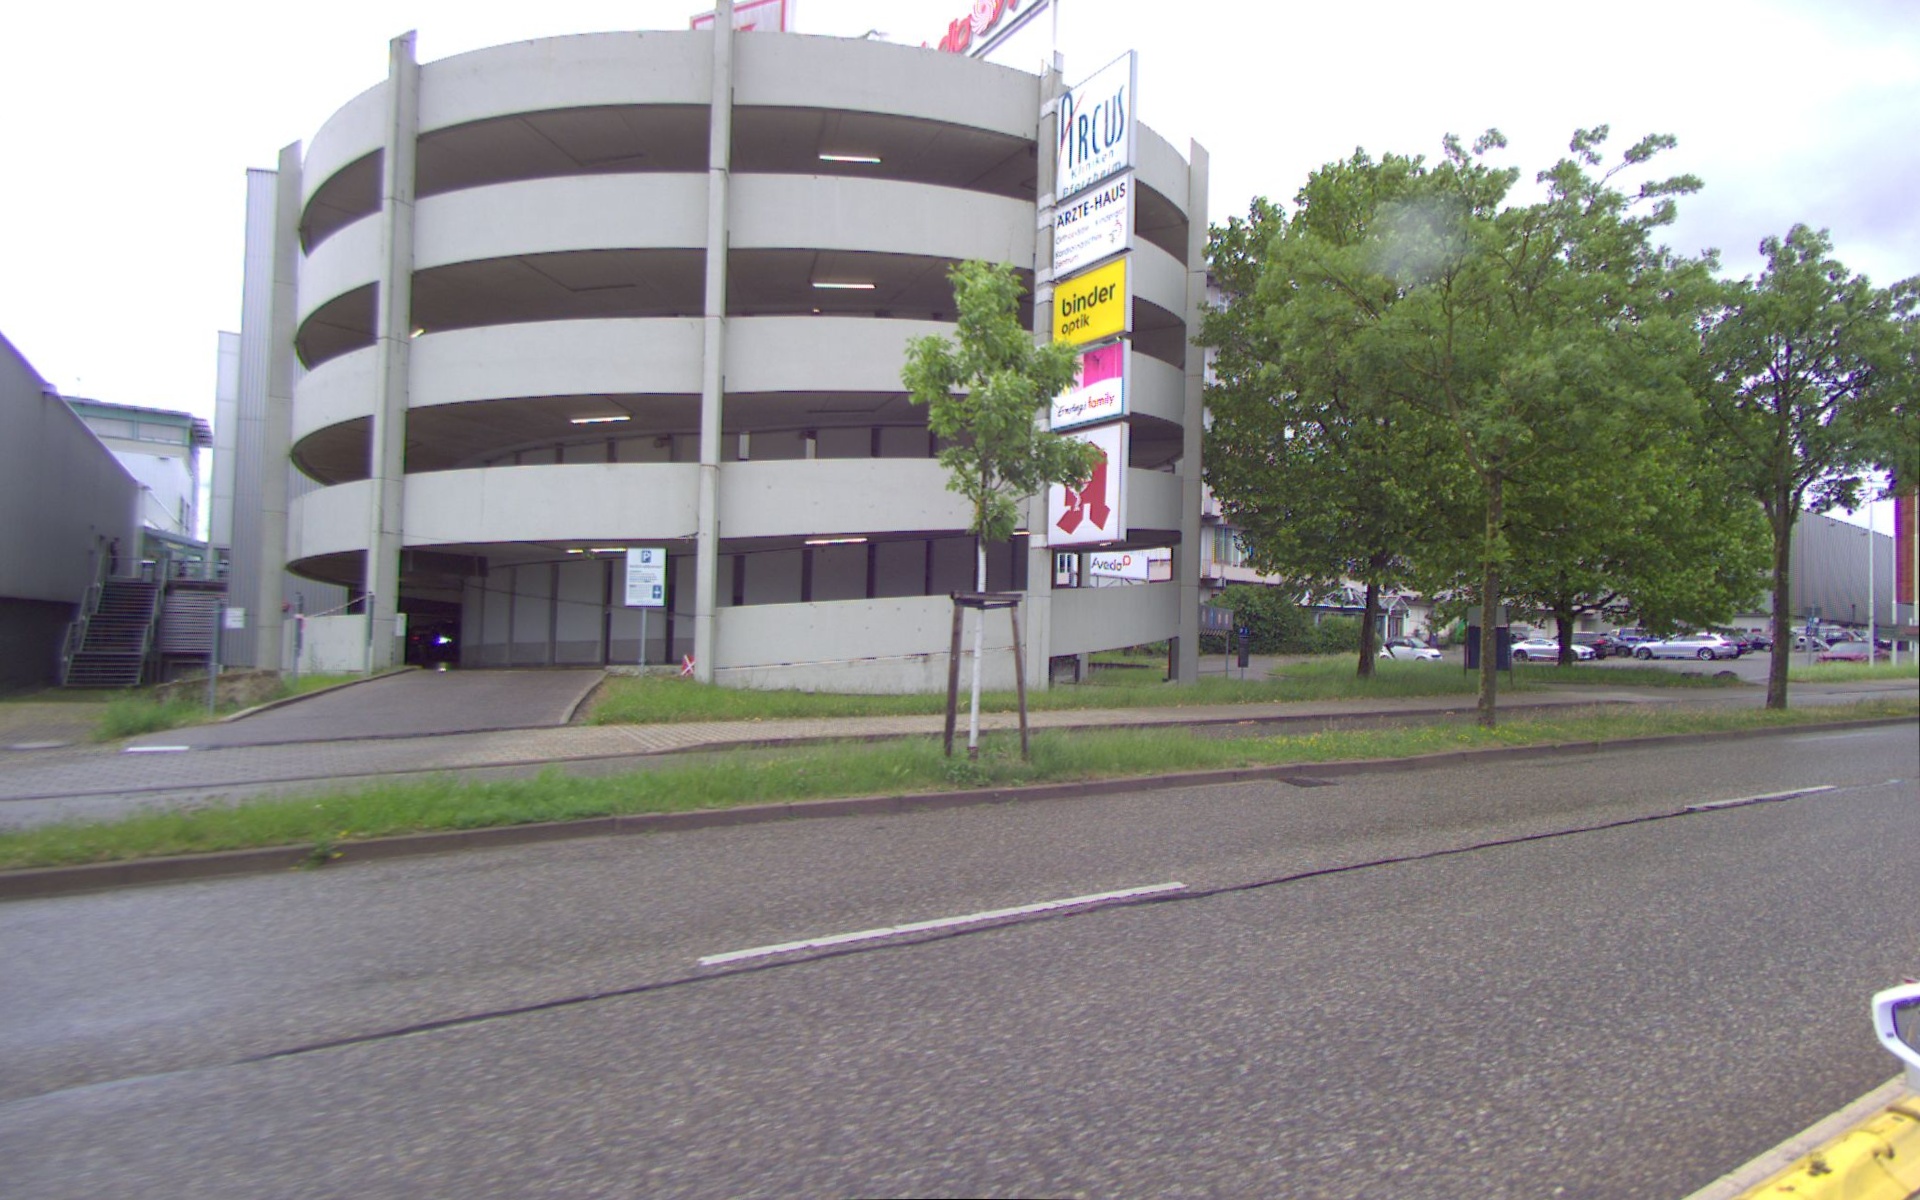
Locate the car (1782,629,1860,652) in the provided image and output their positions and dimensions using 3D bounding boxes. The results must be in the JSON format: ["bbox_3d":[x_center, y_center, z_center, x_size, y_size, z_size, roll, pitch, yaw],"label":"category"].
[{"bbox_3d":[62.598,2.923,73.082,1.802,1.530,4.079,0,1,-37],"label":"car"}]

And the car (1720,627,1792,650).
[{"bbox_3d":[61.702,2.962,77.913,1.802,1.530,4.079,0,1,-37],"label":"car"}]

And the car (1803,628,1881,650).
[{"bbox_3d":[66.344,2.910,75.588,1.802,1.530,4.160,0,1,-37],"label":"car"}]

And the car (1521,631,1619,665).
[{"bbox_3d":[36.174,2.809,59.616,2.116,1.769,4.559,0,1,-40],"label":"car"}]

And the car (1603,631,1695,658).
[{"bbox_3d":[45.191,2.887,65.979,2.006,1.530,4.576,0,0,-37],"label":"car"}]

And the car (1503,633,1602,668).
[{"bbox_3d":[33.979,2.867,57.687,1.951,1.769,4.559,0,1,-40],"label":"car"}]

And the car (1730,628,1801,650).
[{"bbox_3d":[63.786,3.043,79.582,1.802,1.530,4.079,0,1,-37],"label":"car"}]

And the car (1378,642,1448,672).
[{"bbox_3d":[22.293,2.783,49.450,1.596,1.383,2.675,0,-2,-39],"label":"car"}]

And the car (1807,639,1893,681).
[{"bbox_3d":[41.224,2.730,46.496,4.663,1.630,1.920,0,1,-35],"label":"car"}]

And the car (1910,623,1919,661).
[{"bbox_3d":[57.254,2.441,58.519,5.077,2.124,2.097,0,1,-39],"label":"car"}]

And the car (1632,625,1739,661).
[{"bbox_3d":[40.845,2.369,56.647,1.949,1.769,4.565,0,1,-37],"label":"car"}]

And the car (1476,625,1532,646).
[{"bbox_3d":[47.973,3.109,88.598,1.782,1.755,3.960,0,1,-36],"label":"car"}]

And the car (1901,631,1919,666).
[{"bbox_3d":[53.117,2.619,54.409,4.892,1.785,2.027,0,1,-33],"label":"car"}]

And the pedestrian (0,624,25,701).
[{"bbox_3d":[-20.362,1.311,21.191,0.854,1.596,0.445,2,0,-39],"label":"pedestrian"}]

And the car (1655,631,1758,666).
[{"bbox_3d":[43.193,2.796,58.203,1.883,1.769,4.466,0,1,-37],"label":"car"}]
